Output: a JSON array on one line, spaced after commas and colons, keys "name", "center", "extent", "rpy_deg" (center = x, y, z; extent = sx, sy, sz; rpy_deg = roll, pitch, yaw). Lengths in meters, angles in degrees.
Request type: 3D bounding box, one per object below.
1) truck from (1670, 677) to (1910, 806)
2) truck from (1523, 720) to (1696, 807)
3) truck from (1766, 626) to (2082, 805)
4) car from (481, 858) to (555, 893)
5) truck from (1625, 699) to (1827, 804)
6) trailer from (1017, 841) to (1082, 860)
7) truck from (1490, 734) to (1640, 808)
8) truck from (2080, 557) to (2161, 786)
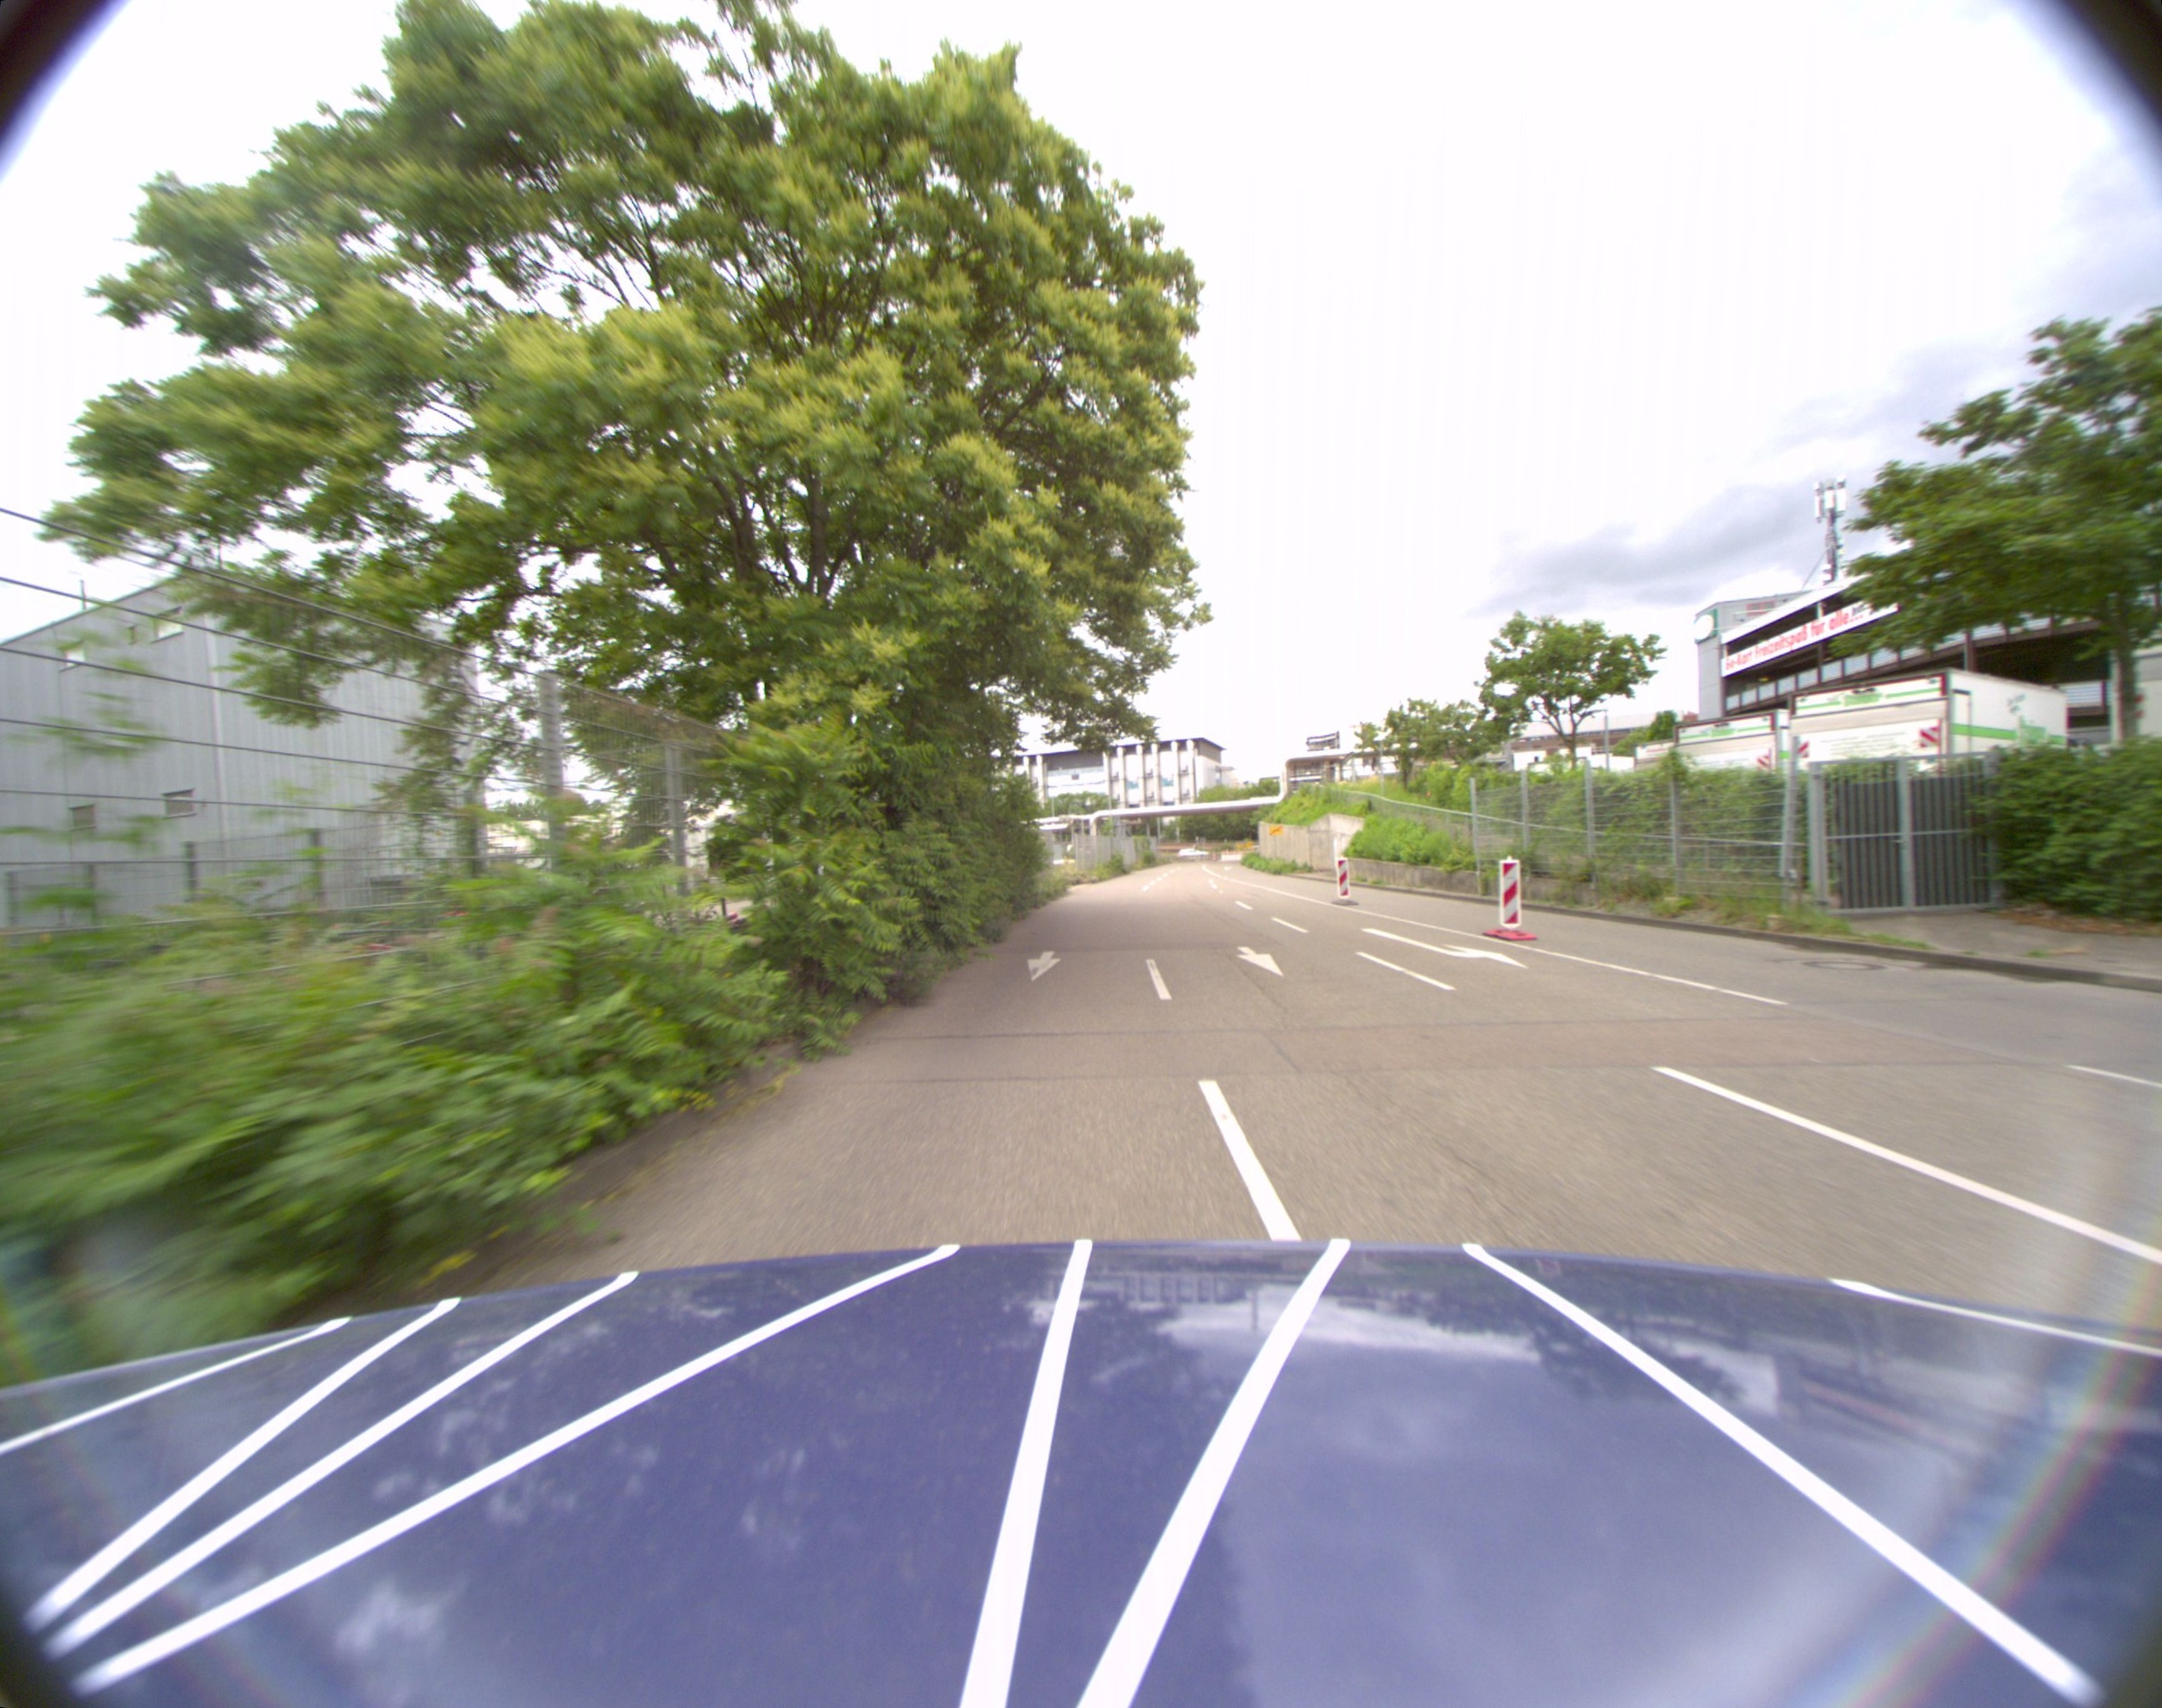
[{"name": "truck", "center": [22.972, -3.499, 24.567], "extent": [7.875, 3.519, 3.045], "rpy_deg": [-4, 3, -26]}, {"name": "truck", "center": [24.287, -4.120, 34.854], "extent": [7.875, 3.519, 3.045], "rpy_deg": [-4, 3, -26]}, {"name": "truck", "center": [20.836, -3.176, 18.727], "extent": [8.164, 3.519, 3.045], "rpy_deg": [-4, 3, -26]}, {"name": "car", "center": [-47.333, 1.813, 63.880], "extent": [5.337, 2.631, 2.420], "rpy_deg": [-2, 1, 22]}, {"name": "truck", "center": [25.096, -3.900, 29.504], "extent": [7.875, 3.519, 3.045], "rpy_deg": [-4, 3, -26]}, {"name": "trailer", "center": [-5.389, -0.573, 129.645], "extent": [10.958, 2.680, 2.223], "rpy_deg": [-3, 1, 15]}, {"name": "truck", "center": [25.831, -4.414, 40.481], "extent": [7.875, 3.519, 3.045], "rpy_deg": [-4, 3, -26]}, {"name": "truck", "center": [20.782, -3.100, 12.920], "extent": [7.875, 3.519, 3.045], "rpy_deg": [-4, 3, -26]}]
